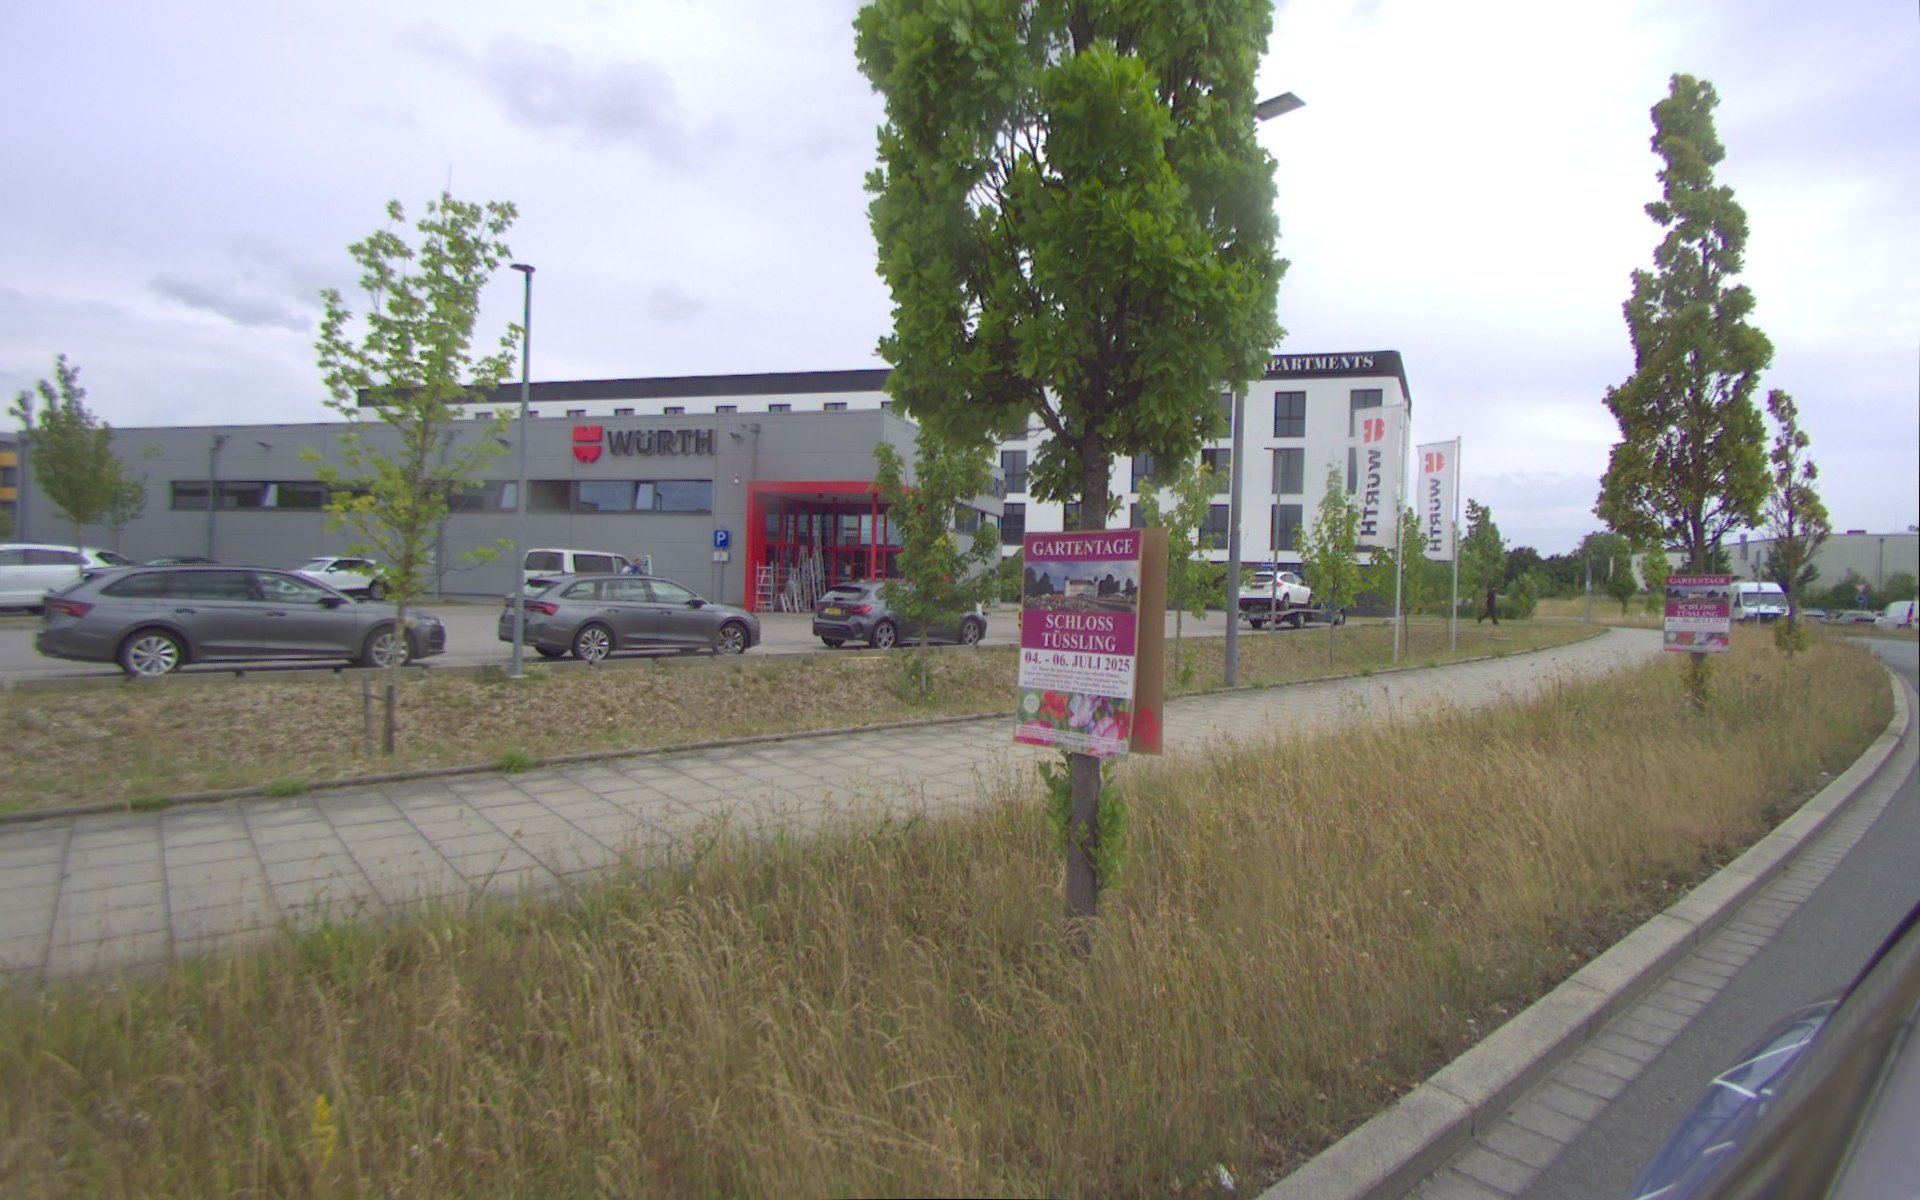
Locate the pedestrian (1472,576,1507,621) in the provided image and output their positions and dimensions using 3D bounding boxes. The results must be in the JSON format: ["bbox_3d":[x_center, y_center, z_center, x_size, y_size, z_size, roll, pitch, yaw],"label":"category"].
[{"bbox_3d":[23.261,-0.078,44.434,1.188,1.880,1.061,2,3,37],"label":"pedestrian"}]

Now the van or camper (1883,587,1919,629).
[{"bbox_3d":[48.421,0.419,50.701,1.936,2.032,5.077,3,2,29],"label":"van or camper"}]

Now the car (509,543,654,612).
[{"bbox_3d":[-11.893,-0.704,32.188,1.972,2.012,4.613,1,1,16],"label":"car"}]

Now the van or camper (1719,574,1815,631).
[{"bbox_3d":[40.290,0.065,50.719,2.240,2.649,5.652,2,1,23],"label":"van or camper"}]

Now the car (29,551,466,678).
[{"bbox_3d":[-9.731,0.150,14.100,4.751,1.478,1.964,0,1,-44],"label":"car"}]

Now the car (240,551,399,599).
[{"bbox_3d":[-23.030,-0.907,36.605,2.055,1.537,4.548,3,2,19],"label":"car"}]

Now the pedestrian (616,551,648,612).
[{"bbox_3d":[-10.292,-0.592,31.771,0.797,1.892,0.606,1,0,38],"label":"pedestrian"}]

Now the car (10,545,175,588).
[{"bbox_3d":[-34.102,-1.308,39.952,2.055,1.537,4.548,2,2,19],"label":"car"}]

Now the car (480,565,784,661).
[{"bbox_3d":[-5.627,0.188,17.846,1.864,1.455,4.801,2,1,44],"label":"car"}]

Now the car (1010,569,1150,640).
[{"bbox_3d":[3.247,0.087,26.716,1.758,1.707,4.354,2,1,36],"label":"car"}]

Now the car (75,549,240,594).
[{"bbox_3d":[-30.254,-1.088,38.334,2.053,1.537,4.553,2,2,17],"label":"car"}]

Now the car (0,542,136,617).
[{"bbox_3d":[-22.822,-0.508,24.009,1.974,1.718,4.763,1,1,19],"label":"car"}]

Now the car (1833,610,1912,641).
[{"bbox_3d":[51.836,1.412,57.596,2.152,1.501,4.856,2,1,28],"label":"car"}]

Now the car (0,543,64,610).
[{"bbox_3d":[-25.334,-0.601,24.923,2.103,1.699,4.517,1,1,15],"label":"car"}]

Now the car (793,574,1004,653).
[{"bbox_3d":[-1.249,0.203,22.229,1.993,1.515,4.538,2,3,43],"label":"car"}]

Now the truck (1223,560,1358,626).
[{"bbox_3d":[13.225,-0.280,39.968,2.224,2.355,8.096,2,1,40],"label":"truck"}]

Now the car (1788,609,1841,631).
[{"bbox_3d":[56.661,1.293,67.155,1.771,1.337,3.963,1,1,26],"label":"car"}]
